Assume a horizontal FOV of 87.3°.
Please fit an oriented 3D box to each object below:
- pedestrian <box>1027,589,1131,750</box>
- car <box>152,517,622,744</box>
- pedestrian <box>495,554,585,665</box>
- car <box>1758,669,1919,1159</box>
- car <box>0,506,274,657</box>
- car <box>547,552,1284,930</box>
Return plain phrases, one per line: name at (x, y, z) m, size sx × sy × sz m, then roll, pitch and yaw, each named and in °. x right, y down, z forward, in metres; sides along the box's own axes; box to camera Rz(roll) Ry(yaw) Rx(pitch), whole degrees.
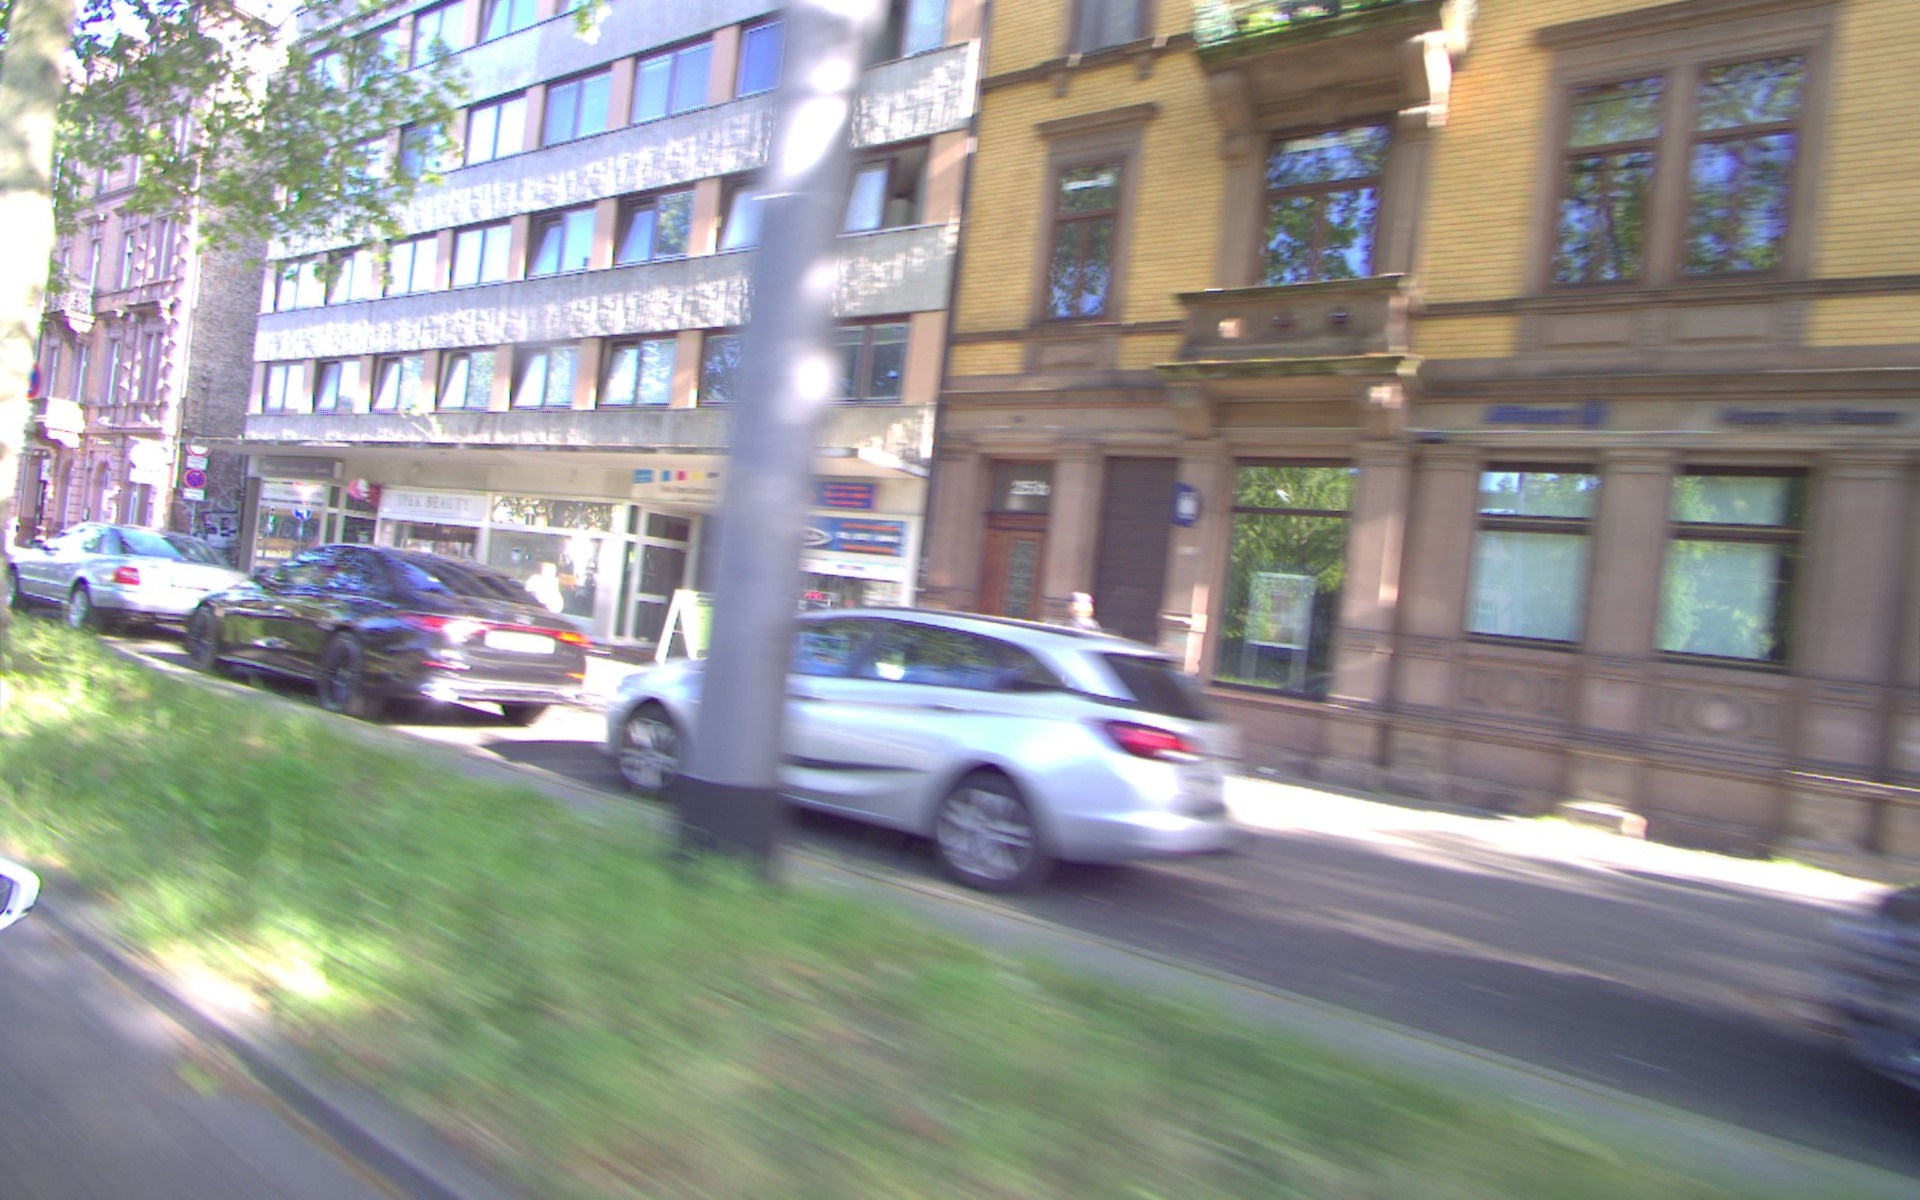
pedestrian at (1.495, 0.874, 12.570) m, size 0.704 × 1.861 × 1.000 m, roll 7°, pitch -1°, yaw 34°
car at (-5.611, 0.218, 9.611) m, size 4.841 × 1.506 × 1.809 m, roll 6°, pitch -3°, yaw 34°
pedestrian at (-7.346, 0.173, 17.626) m, size 0.703 × 1.780 × 1.001 m, roll 7°, pitch -2°, yaw 33°
car at (5.173, 1.290, 2.832) m, size 4.287 × 1.519 × 1.708 m, roll 7°, pitch -3°, yaw 33°
car at (-11.446, -0.296, 13.715) m, size 4.442 × 1.440 × 1.705 m, roll 7°, pitch -3°, yaw 32°
car at (-0.469, 0.700, 6.649) m, size 4.593 × 1.482 × 1.681 m, roll 6°, pitch -3°, yaw 32°
